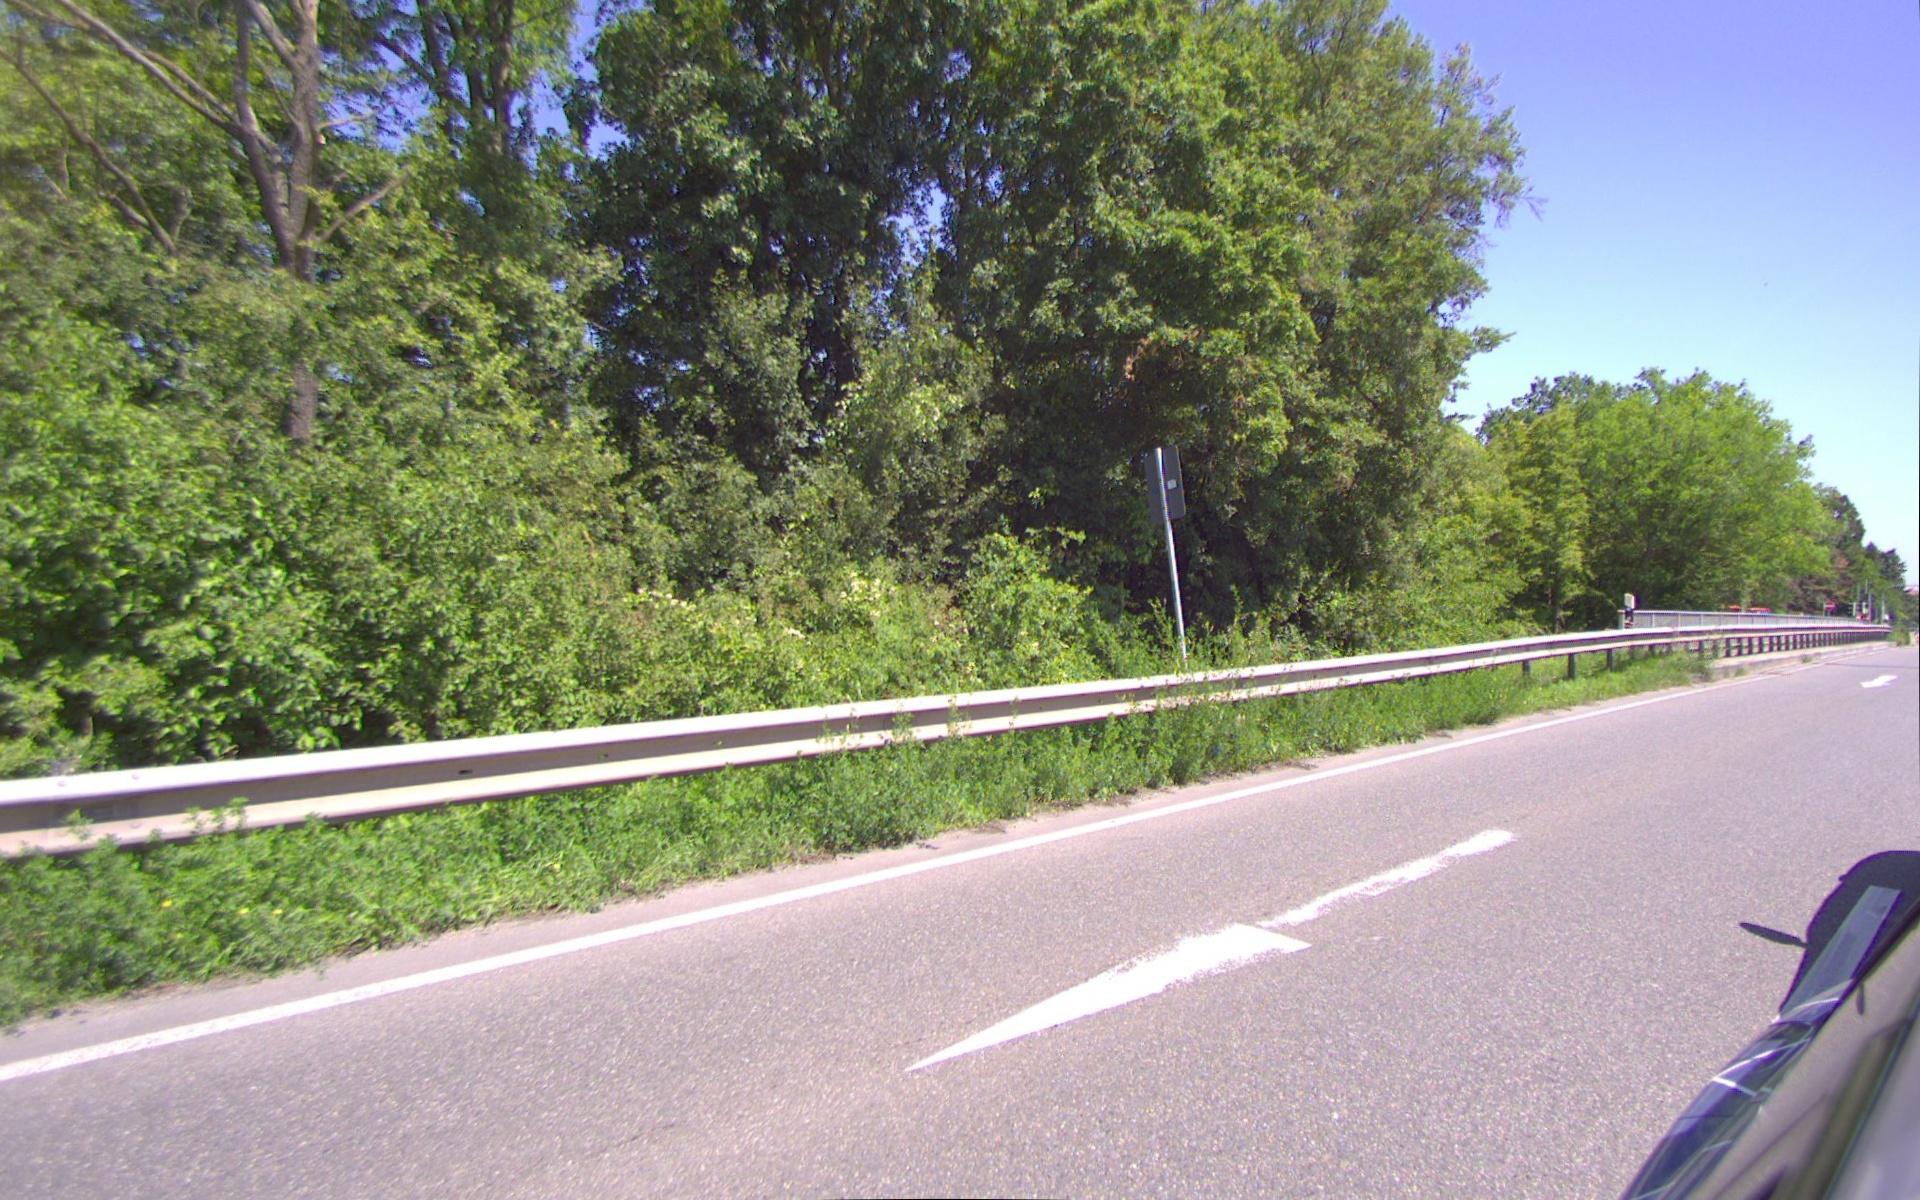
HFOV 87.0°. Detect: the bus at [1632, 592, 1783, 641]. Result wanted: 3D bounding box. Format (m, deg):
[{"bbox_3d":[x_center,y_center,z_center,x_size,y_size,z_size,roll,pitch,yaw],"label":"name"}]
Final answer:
[{"bbox_3d":[64.315,1.287,87.680,2.810,3.708,12.445,1,1,-5],"label":"bus"}]
